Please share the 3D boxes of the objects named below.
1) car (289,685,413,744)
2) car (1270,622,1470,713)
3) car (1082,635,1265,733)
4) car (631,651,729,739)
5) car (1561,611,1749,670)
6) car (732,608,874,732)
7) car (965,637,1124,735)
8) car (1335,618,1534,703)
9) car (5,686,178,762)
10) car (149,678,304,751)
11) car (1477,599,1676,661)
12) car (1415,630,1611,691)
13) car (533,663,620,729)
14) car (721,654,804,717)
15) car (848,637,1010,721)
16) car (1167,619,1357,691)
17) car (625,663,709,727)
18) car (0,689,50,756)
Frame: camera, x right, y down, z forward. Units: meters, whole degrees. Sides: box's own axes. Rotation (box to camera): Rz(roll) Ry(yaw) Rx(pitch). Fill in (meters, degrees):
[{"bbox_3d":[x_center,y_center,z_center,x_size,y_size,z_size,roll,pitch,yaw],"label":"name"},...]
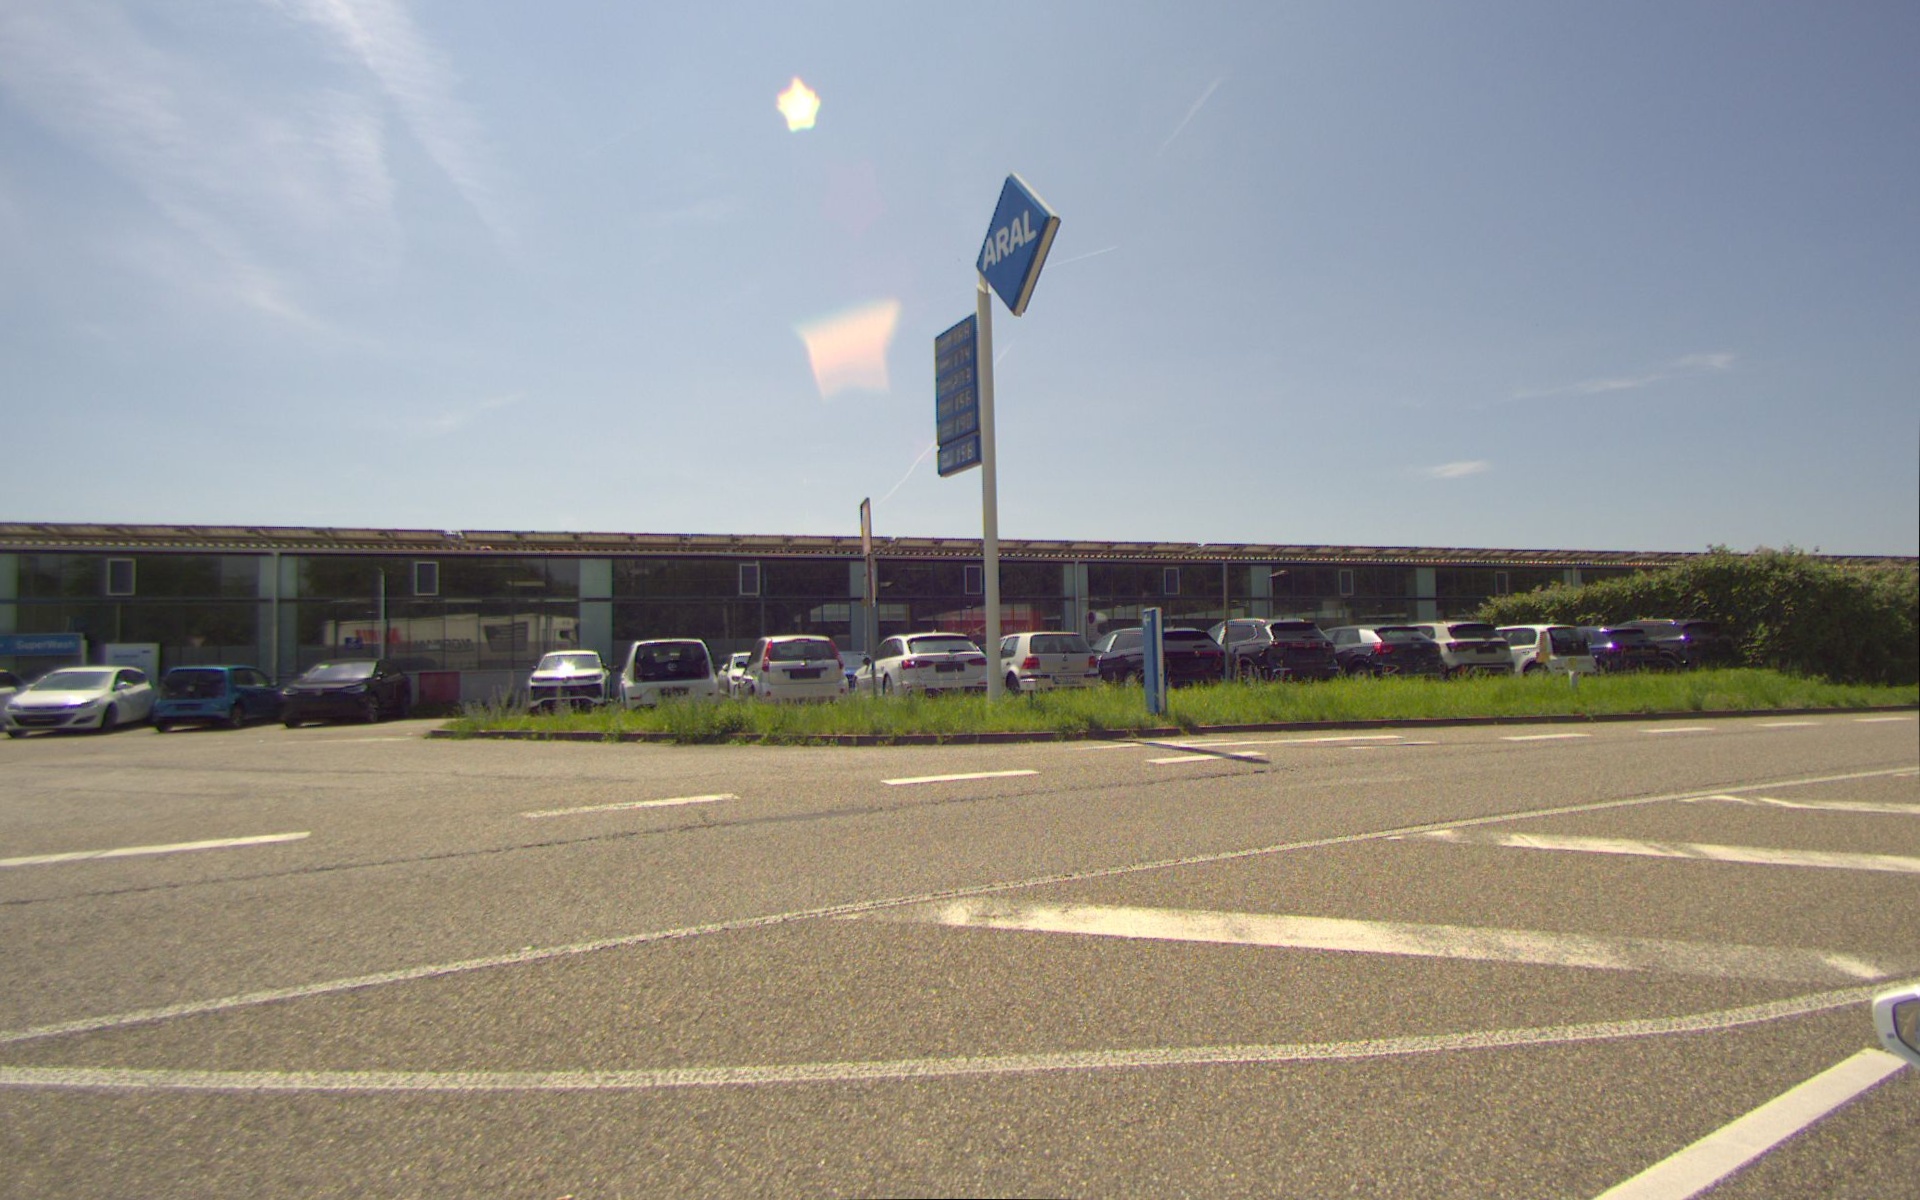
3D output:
[{"bbox_3d":[-15.042,2.780,25.032,1.742,1.262,3.986,-1,-4,-18],"label":"car"},{"bbox_3d":[8.875,1.481,22.143,1.968,1.772,3.987,0,-4,-17],"label":"car"},{"bbox_3d":[4.178,1.633,20.362,1.968,1.772,3.987,1,-3,-17],"label":"car"},{"bbox_3d":[-5.285,1.731,18.732,1.539,1.459,3.441,0,-4,-19],"label":"car"},{"bbox_3d":[17.675,0.983,25.746,1.774,1.391,3.695,0,0,-16],"label":"car"},{"bbox_3d":[-3.069,1.294,18.863,1.969,2.039,3.985,0,-4,-19],"label":"car"},{"bbox_3d":[1.586,1.665,20.424,1.903,1.772,3.987,1,-3,-17],"label":"car"},{"bbox_3d":[10.911,1.430,23.428,1.968,1.772,3.987,0,-4,-17],"label":"car"},{"bbox_3d":[-20.106,2.810,23.473,1.817,1.515,3.852,0,-4,-21],"label":"car"},{"bbox_3d":[-17.815,2.725,24.637,1.969,1.549,3.985,0,-4,-19],"label":"car"},{"bbox_3d":[15.338,0.803,25.257,1.792,1.380,3.984,0,-4,-20],"label":"car"},{"bbox_3d":[13.338,1.499,24.519,1.805,1.334,3.984,0,-4,-19],"label":"car"},{"bbox_3d":[-10.068,2.457,26.639,1.969,1.523,4.576,0,-3,-19],"label":"car"},{"bbox_3d":[-5.510,2.288,27.735,1.789,1.603,3.985,1,-3,-18],"label":"car"},{"bbox_3d":[-0.743,1.503,19.390,1.969,1.376,4.235,0,-4,-19],"label":"car"},{"bbox_3d":[6.266,1.187,21.365,1.968,1.349,3.987,0,-4,-17],"label":"car"},{"bbox_3d":[-8.010,2.498,27.211,1.969,1.523,4.121,0,-3,-19],"label":"car"},{"bbox_3d":[-22.641,2.803,22.426,1.969,1.460,3.985,0,-4,-19],"label":"car"}]
